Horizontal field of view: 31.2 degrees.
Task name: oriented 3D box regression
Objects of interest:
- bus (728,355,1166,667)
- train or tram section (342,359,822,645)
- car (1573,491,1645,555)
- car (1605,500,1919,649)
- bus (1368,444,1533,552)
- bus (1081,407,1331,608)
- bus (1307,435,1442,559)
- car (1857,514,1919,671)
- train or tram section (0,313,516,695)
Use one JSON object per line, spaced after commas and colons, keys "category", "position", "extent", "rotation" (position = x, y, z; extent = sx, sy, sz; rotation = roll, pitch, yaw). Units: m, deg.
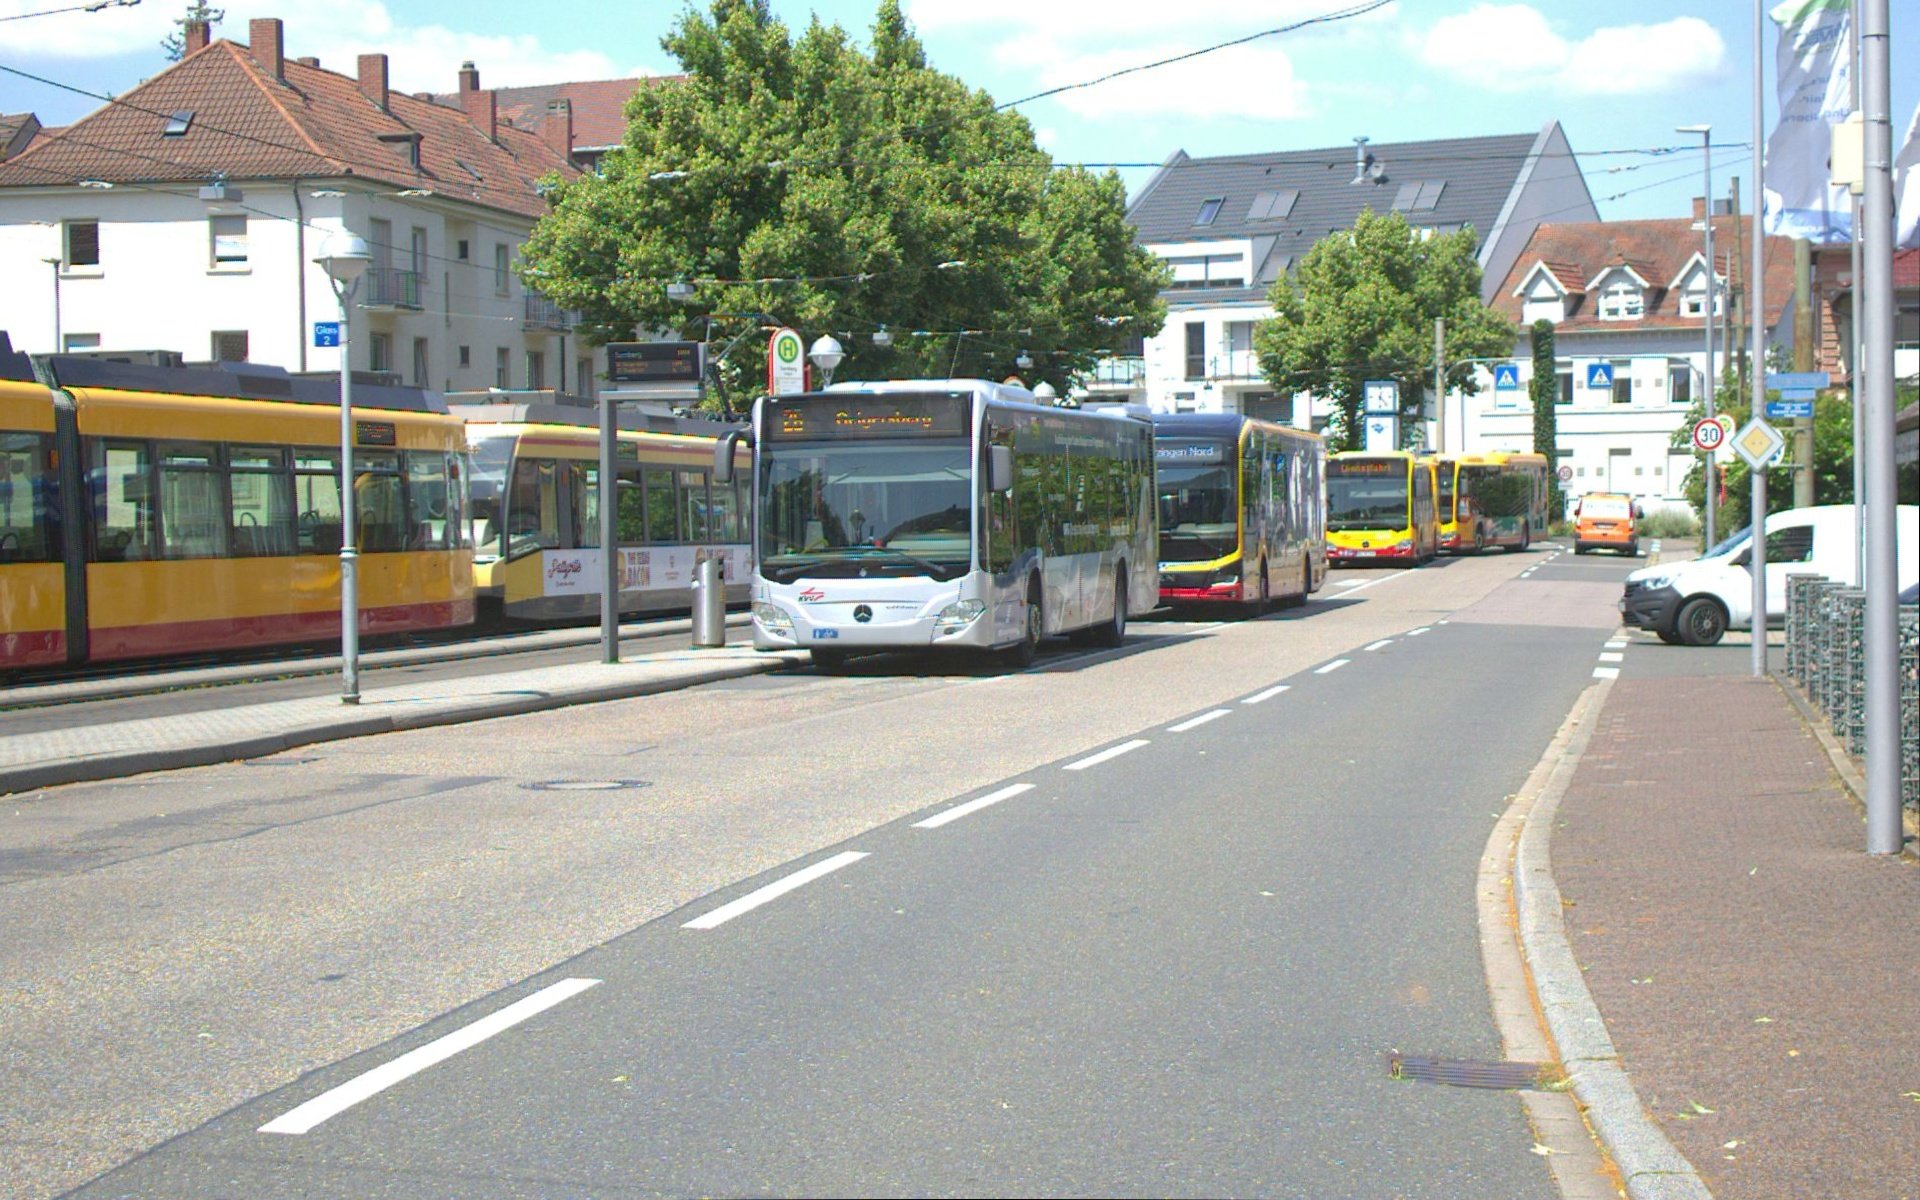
{"category": "bus", "position": [0.207, -1.027, 40.619], "extent": [2.732, 3.118, 12.002], "rotation": [0, 1, 12]}
{"category": "train or tram section", "position": [-5.499, -1.505, 54.650], "extent": [2.786, 3.881, 15.544], "rotation": [0, 1, 12]}
{"category": "car", "position": [20.566, -2.434, 108.816], "extent": [1.809, 1.974, 3.997], "rotation": [0, 1, 17]}
{"category": "car", "position": [10.634, -0.345, 44.039], "extent": [4.304, 1.803, 2.001], "rotation": [0, 3, -2]}
{"category": "bus", "position": [15.384, -3.147, 107.138], "extent": [2.637, 3.207, 9.929], "rotation": [0, 1, 23]}
{"category": "bus", "position": [4.461, -1.577, 59.517], "extent": [2.732, 3.118, 12.002], "rotation": [0, 1, 12]}
{"category": "bus", "position": [11.505, -2.791, 94.616], "extent": [2.732, 3.207, 11.044], "rotation": [0, 1, 12]}
{"category": "car", "position": [11.096, -0.115, 34.054], "extent": [3.929, 1.513, 1.823], "rotation": [-1, 1, 0]}
{"category": "train or tram section", "position": [-8.835, -1.049, 38.971], "extent": [2.786, 3.556, 14.698], "rotation": [0, 1, 12]}
